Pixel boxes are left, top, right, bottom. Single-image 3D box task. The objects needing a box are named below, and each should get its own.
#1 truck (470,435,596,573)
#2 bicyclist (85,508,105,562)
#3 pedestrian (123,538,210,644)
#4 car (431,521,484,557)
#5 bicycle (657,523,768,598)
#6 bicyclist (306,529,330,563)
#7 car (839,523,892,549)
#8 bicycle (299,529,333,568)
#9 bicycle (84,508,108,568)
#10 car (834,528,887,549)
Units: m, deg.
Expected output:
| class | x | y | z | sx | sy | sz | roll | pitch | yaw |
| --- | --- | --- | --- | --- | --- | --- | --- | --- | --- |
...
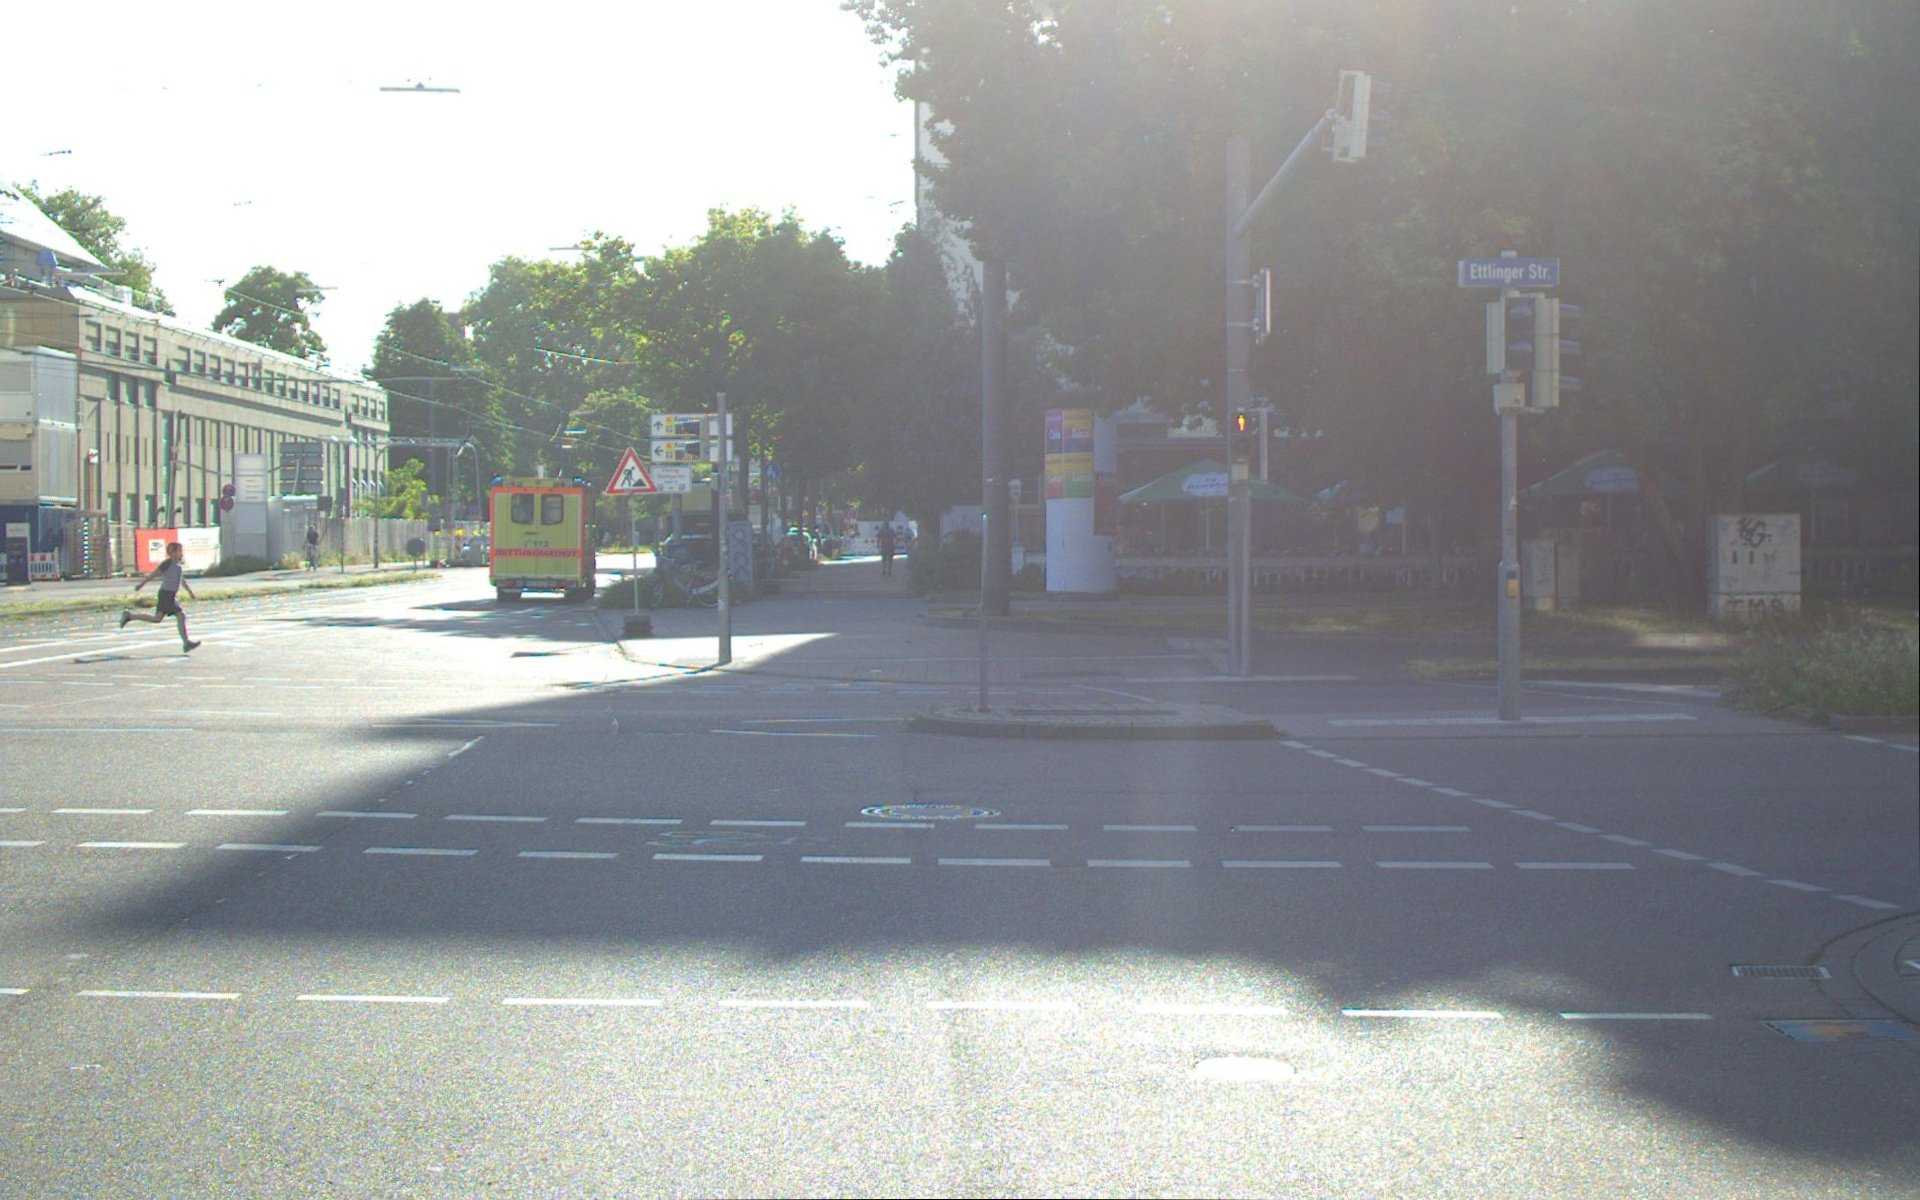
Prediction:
| class | x | y | z | sx | sy | sz | roll | pitch | yaw |
| --- | --- | --- | --- | --- | --- | --- | --- | --- | --- |
| truck | -9.675 | -2.148 | 78.382 | 2.716 | 3.005 | 6.491 | 0 | 1 | -6 |
| bicyclist | -32.767 | -2.465 | 130.271 | 0.571 | 2.017 | 0.762 | 0 | 1 | -2 |
| pedestrian | -9.989 | -0.116 | 43.296 | 0.993 | 1.313 | 0.767 | -1 | 1 | -8 |
| car | -22.846 | -2.784 | 156.399 | 1.894 | 1.601 | 4.501 | -1 | 1 | -2 |
| bicycle | -5.848 | -0.939 | 81.400 | 2.547 | 1.737 | 1.037 | 1 | 0 | 0 |
| bicyclist | -25.307 | -2.122 | 135.512 | 0.689 | 1.323 | 1.000 | 1 | 0 | 2 |
| car | -5.868 | -3.969 | 213.434 | 3.214 | 1.583 | 1.446 | 1 | 0 | -4 |
| bicycle | -25.355 | -2.020 | 135.443 | 0.689 | 1.506 | 2.944 | 1 | 1 | 2 |
| bicycle | -32.769 | -2.350 | 130.334 | 0.571 | 2.288 | 1.422 | 0 | 1 | -2 |
| car | -6.125 | -3.777 | 211.206 | 3.217 | 1.259 | 1.373 | 1 | 0 | -1 |
